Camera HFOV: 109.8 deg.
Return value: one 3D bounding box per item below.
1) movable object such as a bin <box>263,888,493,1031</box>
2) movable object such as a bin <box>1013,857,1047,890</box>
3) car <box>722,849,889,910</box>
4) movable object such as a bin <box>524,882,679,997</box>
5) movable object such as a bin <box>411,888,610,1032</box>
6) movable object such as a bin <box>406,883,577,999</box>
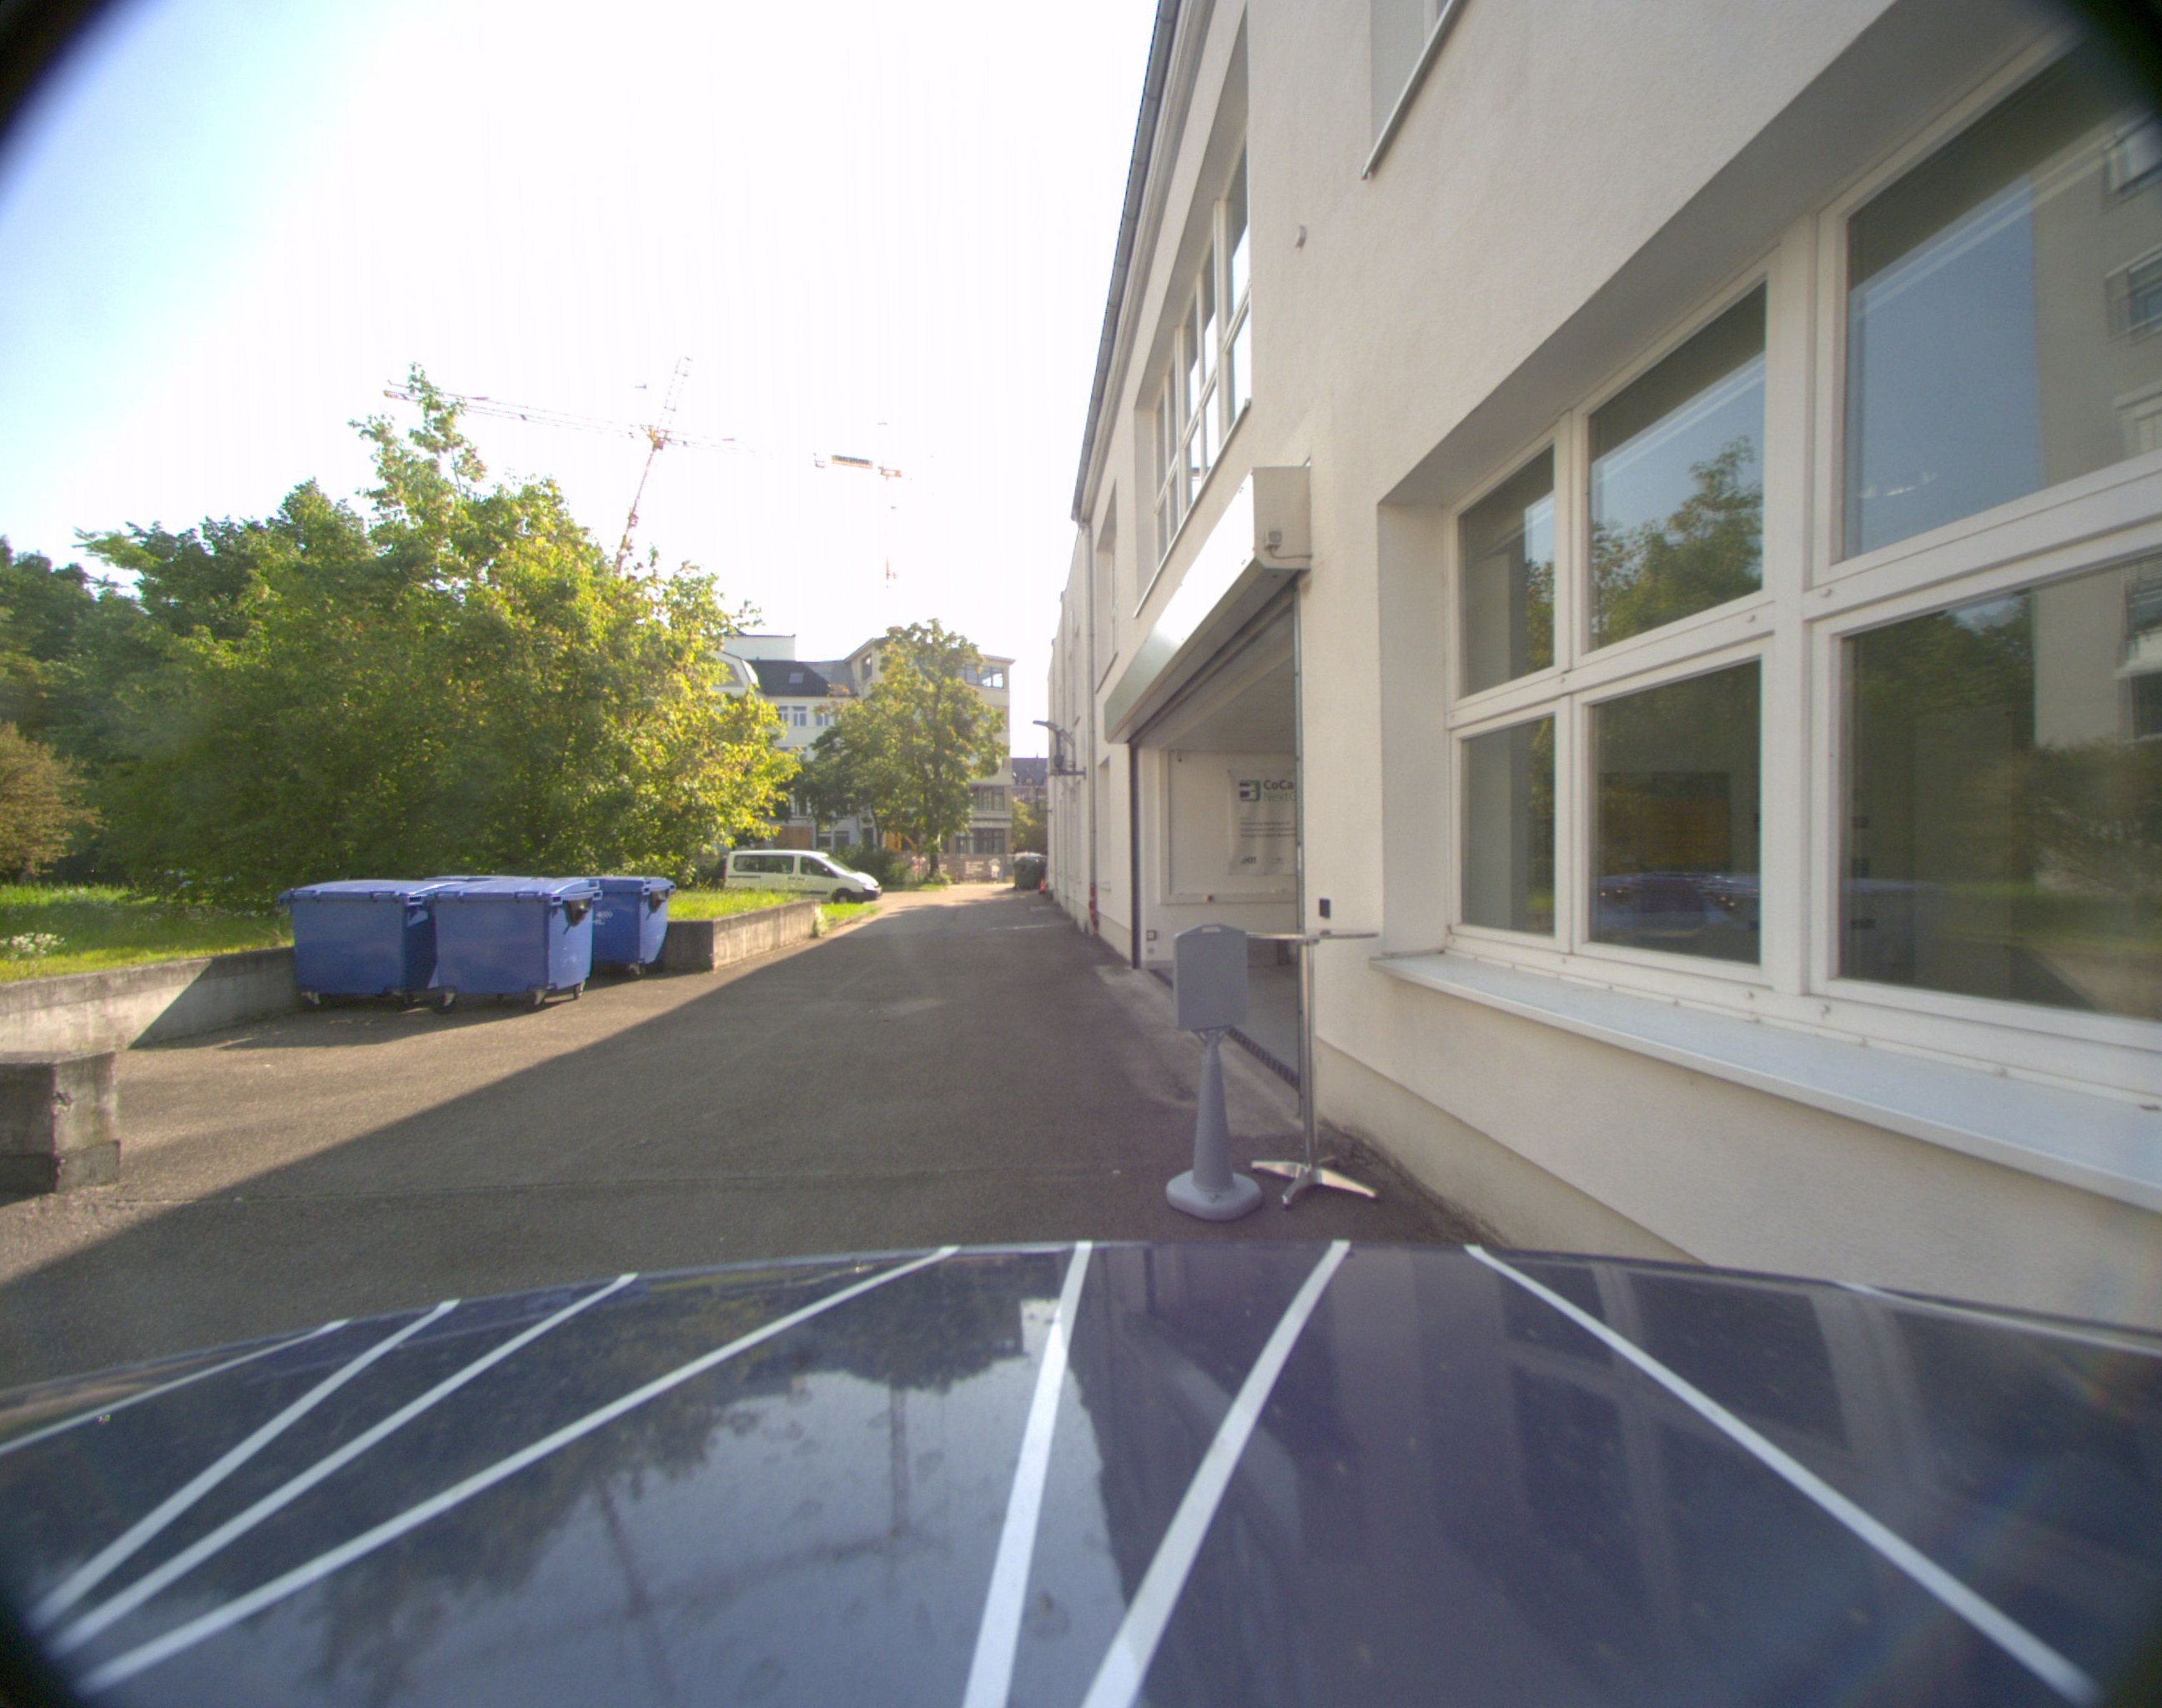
[{"bbox_3d":[-7.396,1.062,8.111,1.257,1.320,1.274,-1,0,-4],"label":"movable object such as a bin"},{"bbox_3d":[-2.359,0.874,35.063,1.525,1.457,1.274,-1,0,-4],"label":"movable object such as a bin"},{"bbox_3d":[-8.966,0.801,25.038,4.791,1.920,1.908,0,0,-3],"label":"car"},{"bbox_3d":[-6.106,1.053,9.791,1.200,1.320,1.274,-1,0,-4],"label":"movable object such as a bin"},{"bbox_3d":[-6.061,1.079,8.198,1.214,1.343,1.274,-1,0,-6],"label":"movable object such as a bin"},{"bbox_3d":[-7.452,1.060,9.707,1.200,1.320,1.274,-1,0,-4],"label":"movable object such as a bin"}]
